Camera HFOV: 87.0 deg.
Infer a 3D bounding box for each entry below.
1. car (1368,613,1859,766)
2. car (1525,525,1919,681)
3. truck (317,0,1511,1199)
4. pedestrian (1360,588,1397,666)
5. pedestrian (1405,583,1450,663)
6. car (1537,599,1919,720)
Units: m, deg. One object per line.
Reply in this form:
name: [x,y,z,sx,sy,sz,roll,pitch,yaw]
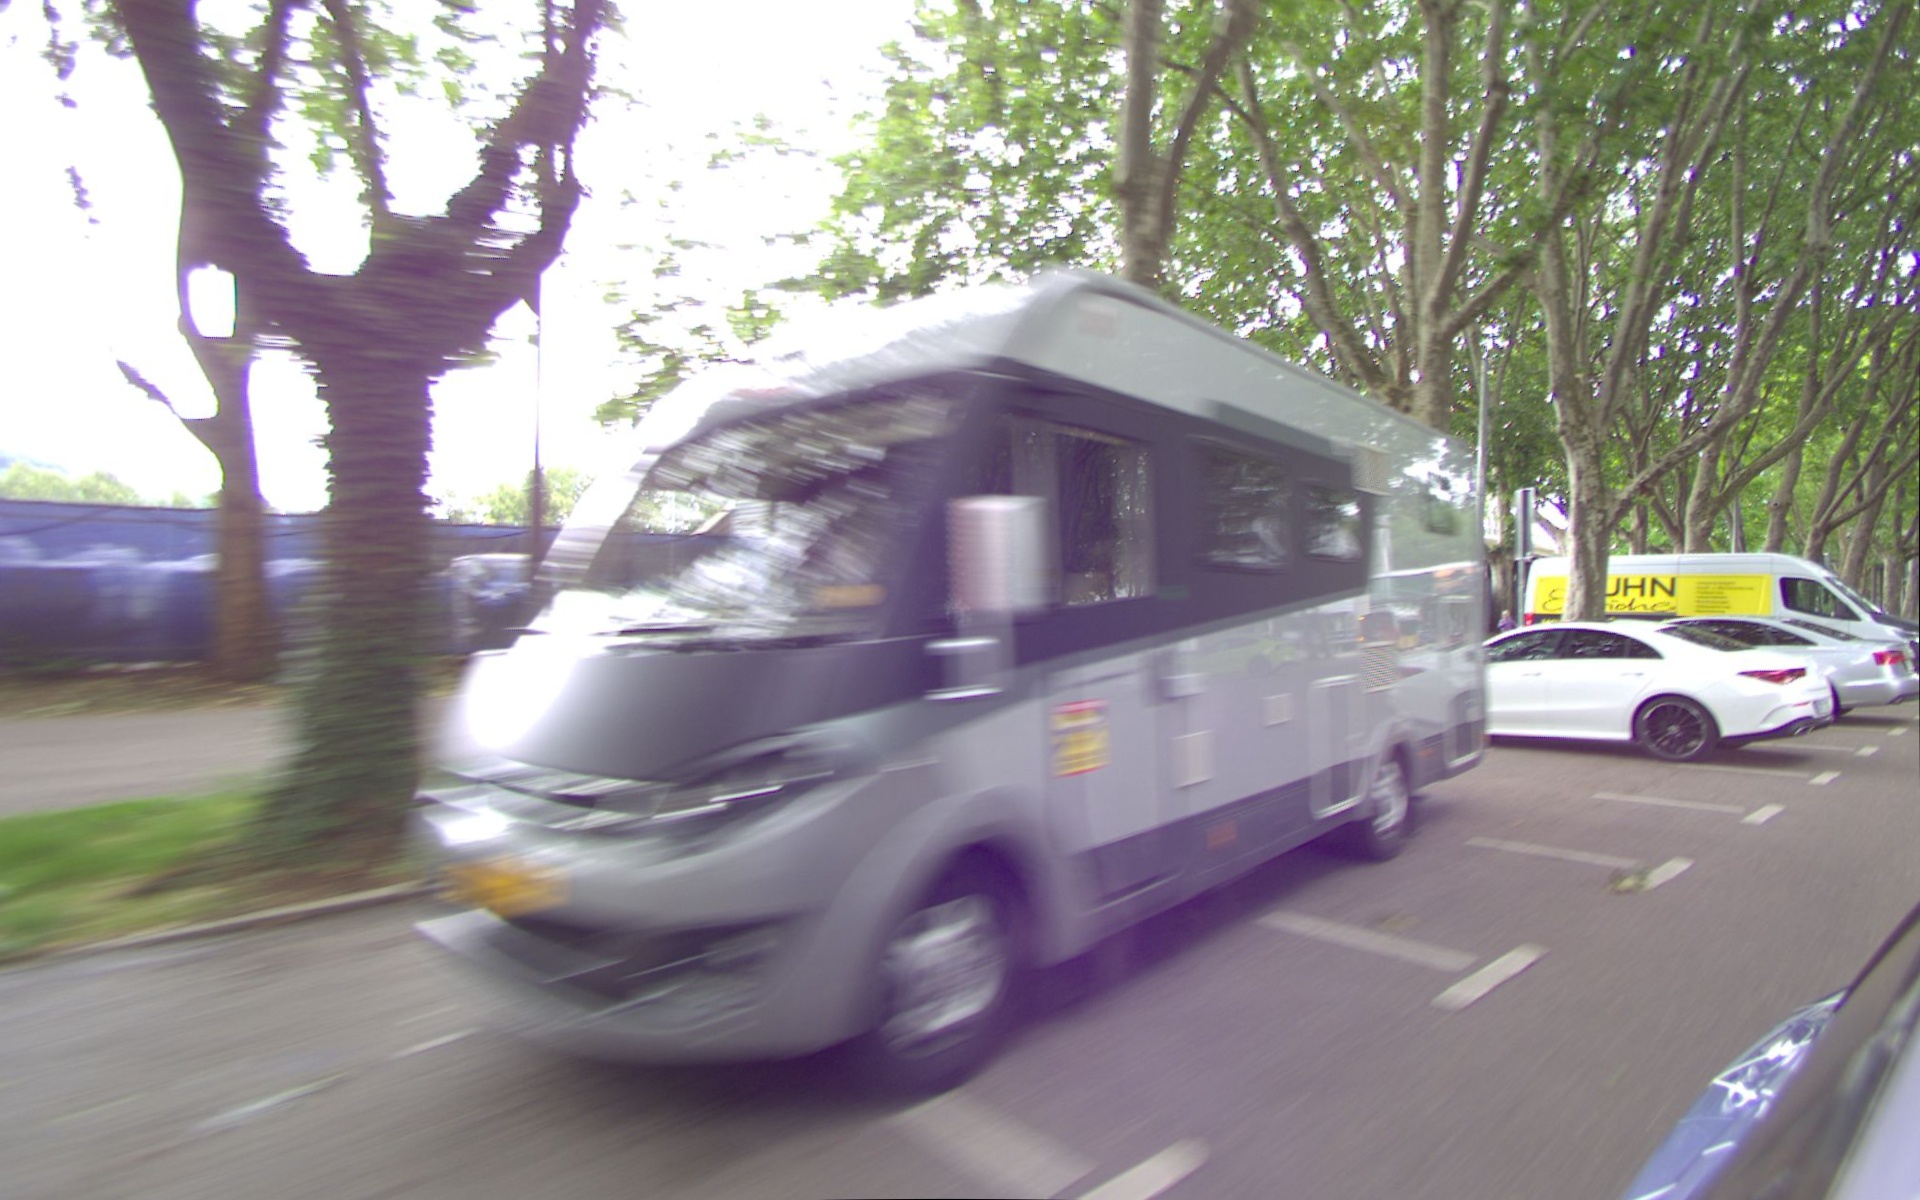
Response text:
car: [7.027,0.833,11.308,1.669,1.318,4.328,0,0,-40]
car: [15.585,0.047,20.544,2.092,2.729,6.886,0,0,-43]
truck: [0.932,0.077,5.798,2.455,2.975,7.427,0,0,40]
pedestrian: [9.110,0.577,22.035,0.422,1.665,0.519,1,2,-39]
pedestrian: [10.561,0.513,22.881,0.609,1.762,0.641,1,2,-37]
car: [10.832,0.720,14.331,1.584,1.464,4.365,0,0,-42]
